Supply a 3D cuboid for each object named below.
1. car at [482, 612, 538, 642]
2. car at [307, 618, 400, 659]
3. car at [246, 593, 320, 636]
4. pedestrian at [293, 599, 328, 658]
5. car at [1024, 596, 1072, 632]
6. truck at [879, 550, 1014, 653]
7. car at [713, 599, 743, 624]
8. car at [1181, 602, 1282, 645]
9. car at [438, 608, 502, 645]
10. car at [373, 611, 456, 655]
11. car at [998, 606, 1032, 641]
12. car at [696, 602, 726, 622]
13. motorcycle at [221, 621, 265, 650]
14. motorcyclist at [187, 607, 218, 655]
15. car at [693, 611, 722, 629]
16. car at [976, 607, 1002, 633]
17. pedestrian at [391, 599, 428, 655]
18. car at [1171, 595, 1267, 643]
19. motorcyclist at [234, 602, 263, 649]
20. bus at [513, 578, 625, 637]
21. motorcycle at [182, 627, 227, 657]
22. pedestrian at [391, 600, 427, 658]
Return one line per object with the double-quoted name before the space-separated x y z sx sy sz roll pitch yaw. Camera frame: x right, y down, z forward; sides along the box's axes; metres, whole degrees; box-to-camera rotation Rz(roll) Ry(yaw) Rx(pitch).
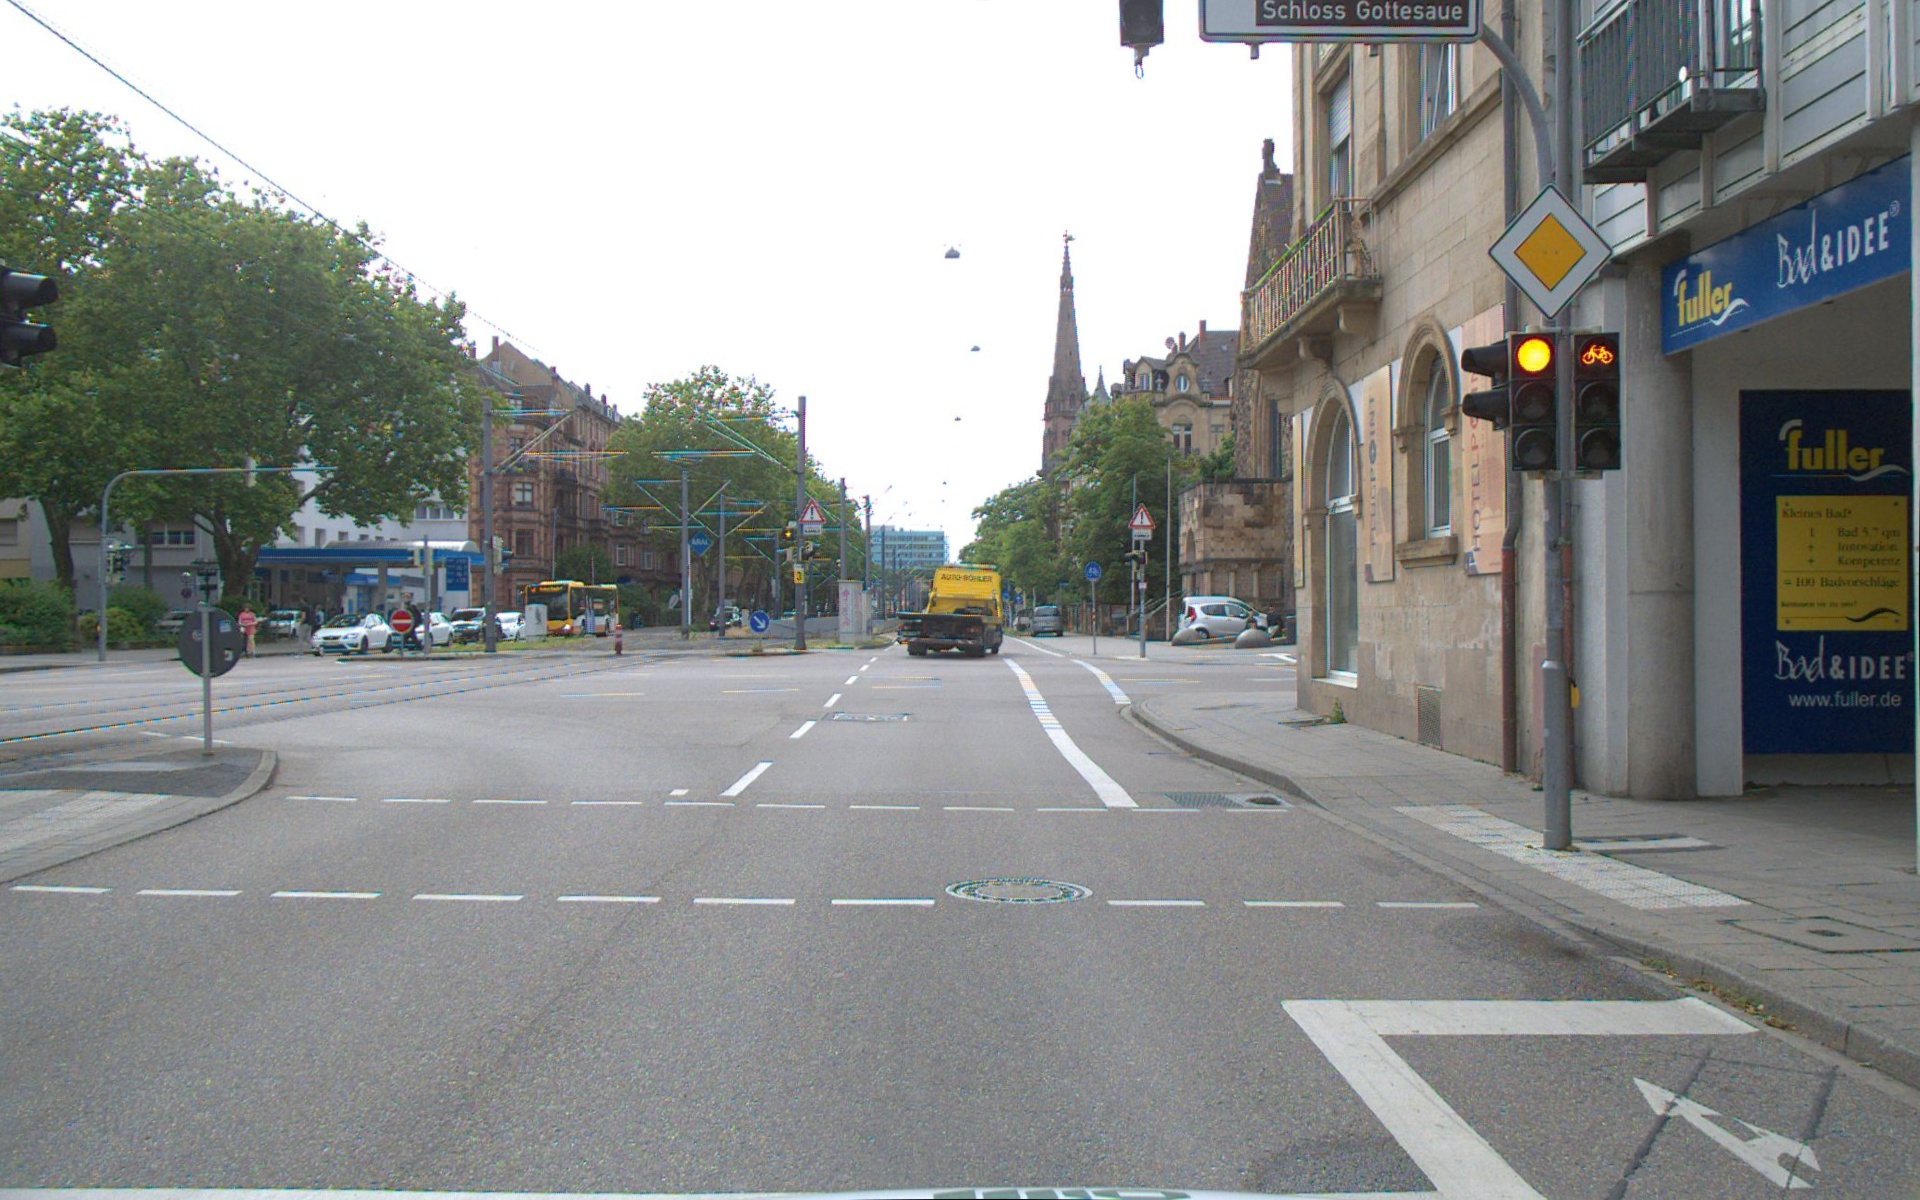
"car" -21.378 1.277 78.686 1.622 1.344 3.638 1 0 1
"car" -21.434 1.326 58.580 1.711 1.344 4.075 1 0 1
"car" -32.848 0.689 80.353 1.953 2.049 3.999 0 0 -1
"pedestrian" -19.364 0.851 49.327 0.669 1.720 0.742 1 -1 4
"car" 4.817 0.763 90.034 1.951 1.888 4.030 1 0 12
"truck" -0.220 0.061 50.568 2.990 2.817 9.822 0 0 6
"car" -19.792 0.932 141.249 1.953 2.049 3.999 1 0 -1
"car" 10.676 0.921 65.127 3.638 1.591 2.000 1 0 -1
"car" -21.221 1.133 71.767 1.622 1.504 3.638 1 0 1
"car" -21.421 1.282 65.114 1.953 1.622 3.999 1 0 -1
"car" 3.289 1.411 99.623 1.952 2.049 4.000 1 0 1
"car" -21.223 1.010 141.168 1.953 1.639 3.999 1 0 -1
"motorcycle" -23.688 1.163 54.658 0.594 0.945 1.951 0 0 0
"motorcyclist" -24.675 0.989 53.893 0.607 1.546 0.873 0 0 -1
"car" -19.986 1.553 131.059 1.622 1.344 3.638 1 0 1
"car" 2.374 1.615 136.190 1.953 2.049 3.999 1 0 -1
"pedestrian" -17.119 0.833 51.467 0.853 1.743 0.875 0 0 1
"car" 10.693 0.789 68.543 3.638 1.888 2.000 1 0 -1
"motorcyclist" -23.657 0.853 54.993 0.607 1.546 0.873 0 0 -1
"bus" -21.889 0.430 93.420 3.164 3.088 12.312 1 0 1
"motorcycle" -24.677 1.365 54.064 0.594 0.945 1.951 0 0 0
"pedestrian" -16.934 0.887 50.826 0.849 1.743 0.691 0 0 3
